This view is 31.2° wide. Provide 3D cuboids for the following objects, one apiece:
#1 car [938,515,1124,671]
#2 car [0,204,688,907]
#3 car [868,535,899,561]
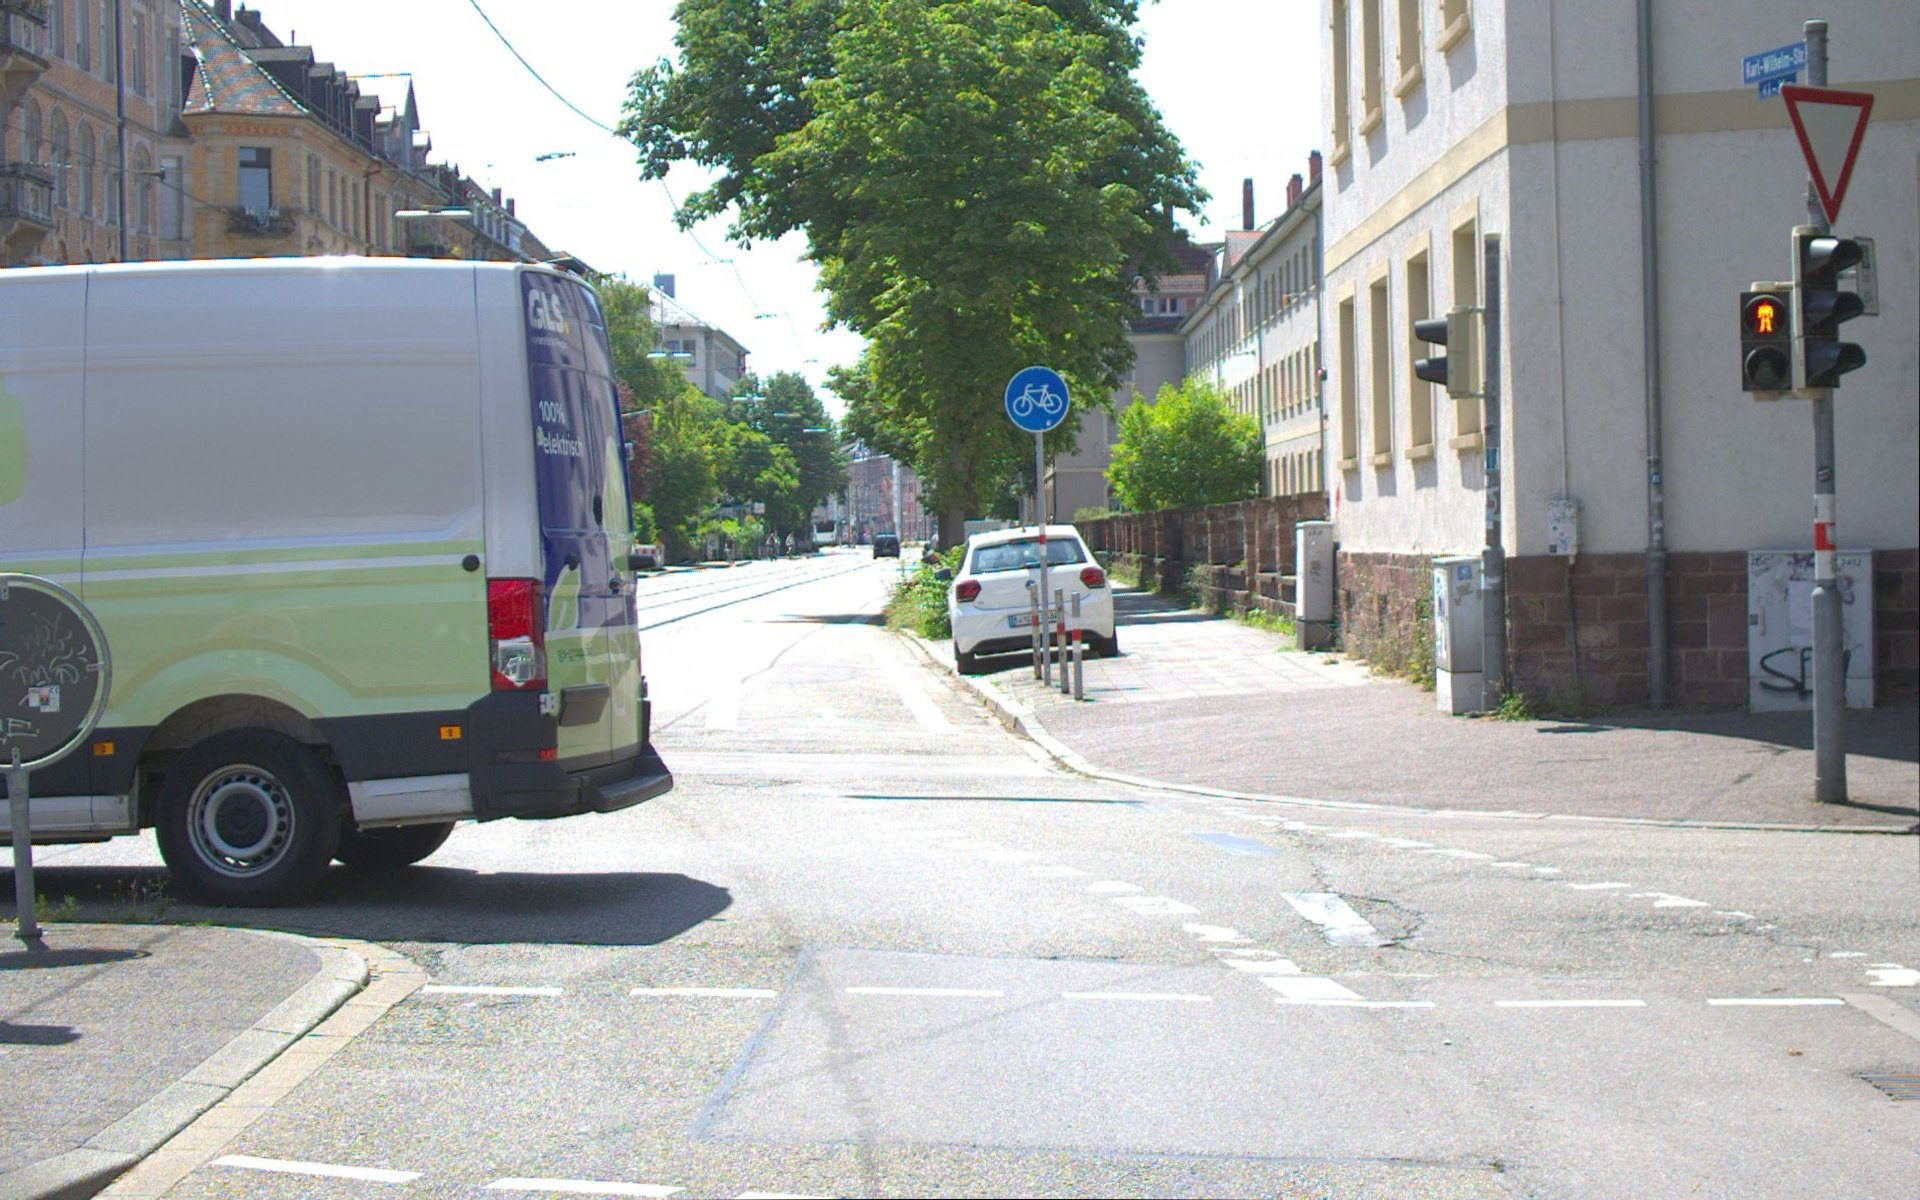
[{"bbox_3d":[0.720,-0.090,37.338,1.815,1.511,4.000,-3,1,-1],"label":"car"},{"bbox_3d":[-4.239,-0.162,14.521,5.810,2.664,2.274,0,0,7],"label":"car"},{"bbox_3d":[-4.685,-3.184,210.129,1.825,1.514,4.000,1,1,-1],"label":"car"}]
